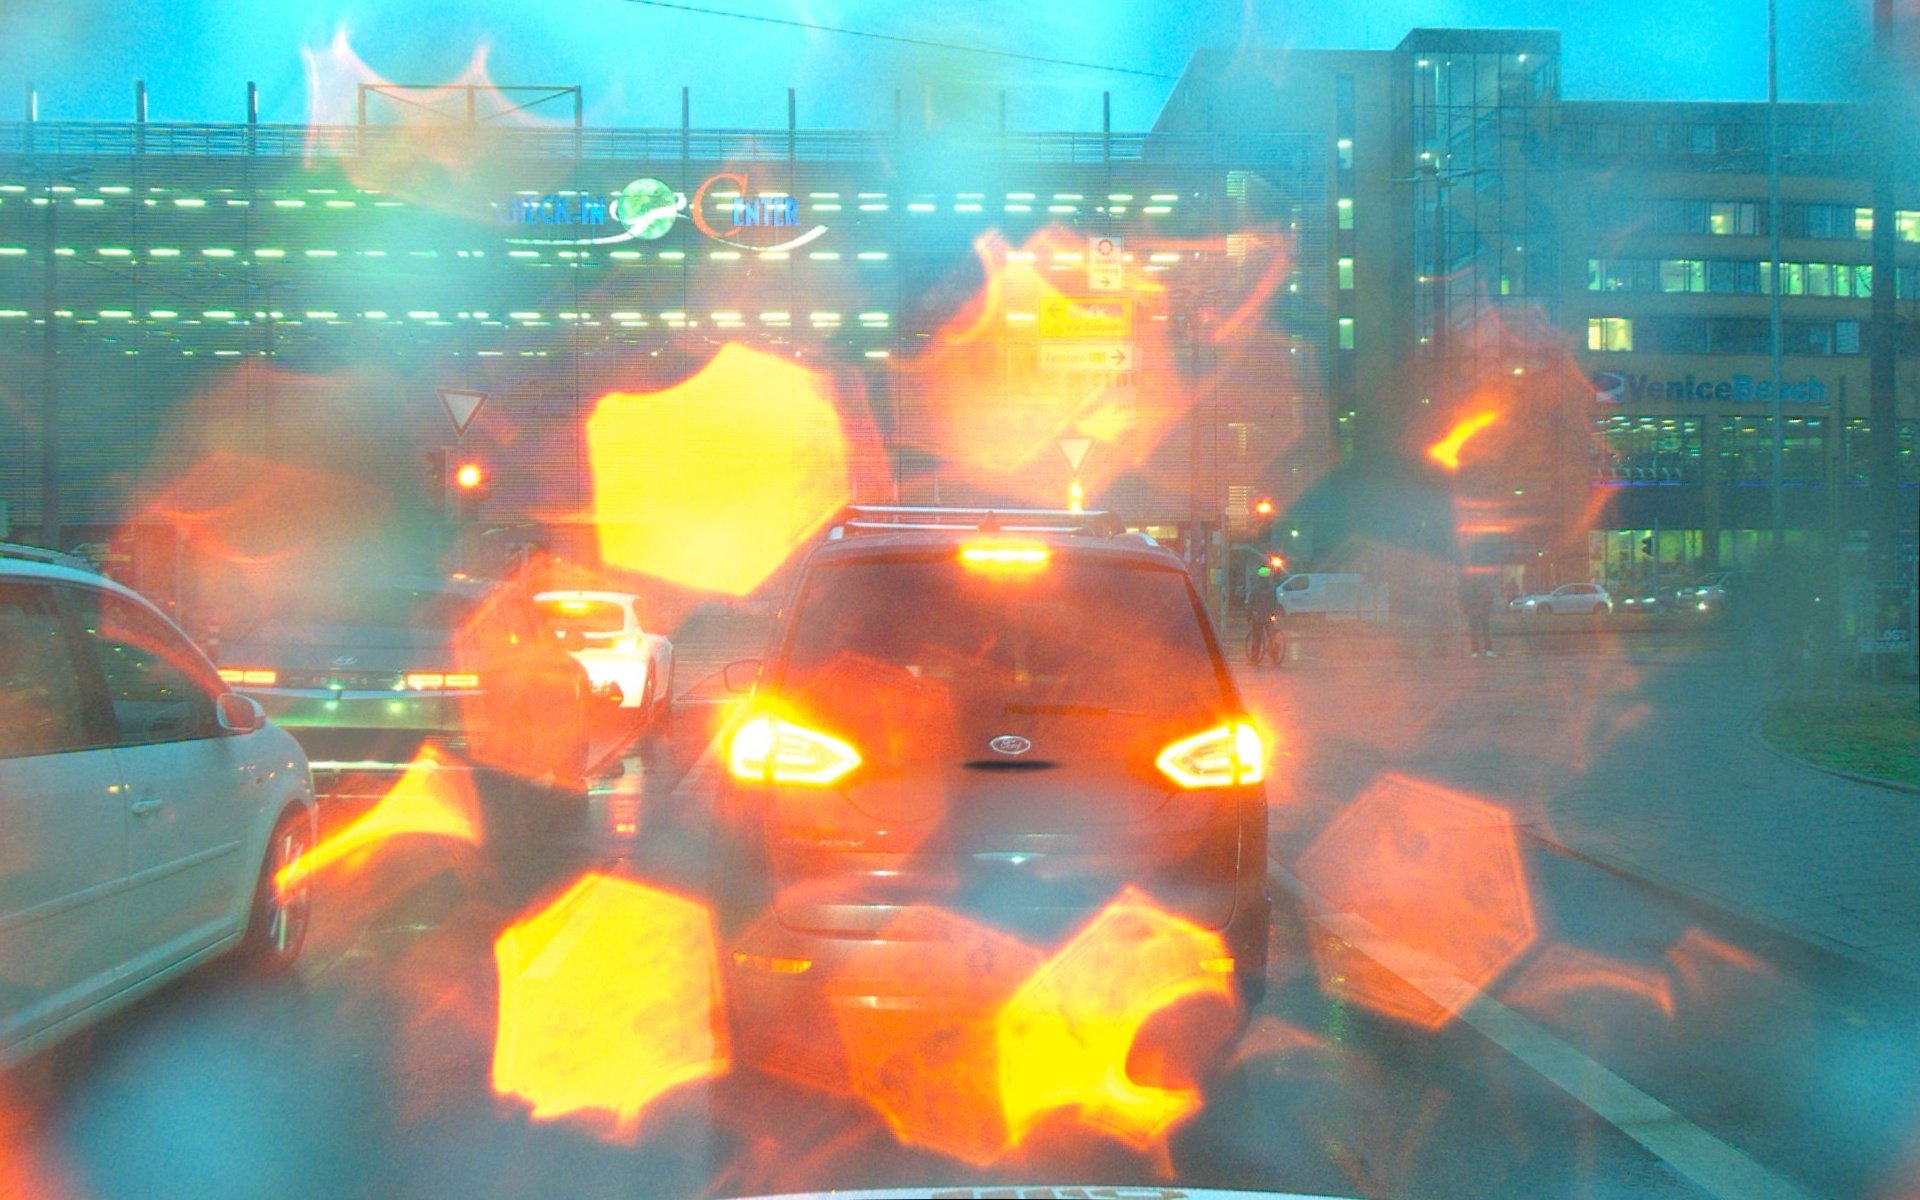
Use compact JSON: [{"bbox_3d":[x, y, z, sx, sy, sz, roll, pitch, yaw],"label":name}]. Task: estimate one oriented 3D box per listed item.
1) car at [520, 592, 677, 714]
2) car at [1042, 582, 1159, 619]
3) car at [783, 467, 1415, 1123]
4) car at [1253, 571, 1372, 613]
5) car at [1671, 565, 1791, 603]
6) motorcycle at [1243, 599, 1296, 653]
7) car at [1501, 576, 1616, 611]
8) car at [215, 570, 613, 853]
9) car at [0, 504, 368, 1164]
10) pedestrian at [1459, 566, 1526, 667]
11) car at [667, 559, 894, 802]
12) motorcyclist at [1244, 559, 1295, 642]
[{"bbox_3d":[-4.156,0.550,19.470,1.512,1.273,4.060,0,0,-8],"label":"car"},{"bbox_3d":[5.541,0.003,65.306,4.336,1.414,1.797,-1,0,-8],"label":"car"},{"bbox_3d":[0.285,0.530,6.691,1.700,1.768,4.244,2,0,-3],"label":"car"},{"bbox_3d":[14.137,-0.311,66.418,4.336,1.623,1.797,-1,0,-8],"label":"car"},{"bbox_3d":[32.533,-0.673,69.846,4.348,1.561,1.797,-1,0,-8],"label":"car"},{"bbox_3d":[5.928,0.492,31.731,0.835,0.989,1.582,0,0,5],"label":"motorcycle"},{"bbox_3d":[24.785,-0.273,68.494,4.136,1.414,1.797,-1,0,-8],"label":"car"},{"bbox_3d":[-3.543,0.627,11.496,1.718,1.601,3.996,0,0,-5],"label":"car"},{"bbox_3d":[-3.290,0.560,5.012,1.637,1.689,4.146,2,1,-3],"label":"car"},{"bbox_3d":[10.690,0.317,33.202,1.146,1.957,0.898,2,0,22],"label":"pedestrian"},{"bbox_3d":[-1.443,0.582,13.707,1.604,1.726,3.667,1,0,-5],"label":"car"},{"bbox_3d":[5.930,0.014,31.745,0.850,1.561,1.109,0,0,5],"label":"motorcyclist"}]
